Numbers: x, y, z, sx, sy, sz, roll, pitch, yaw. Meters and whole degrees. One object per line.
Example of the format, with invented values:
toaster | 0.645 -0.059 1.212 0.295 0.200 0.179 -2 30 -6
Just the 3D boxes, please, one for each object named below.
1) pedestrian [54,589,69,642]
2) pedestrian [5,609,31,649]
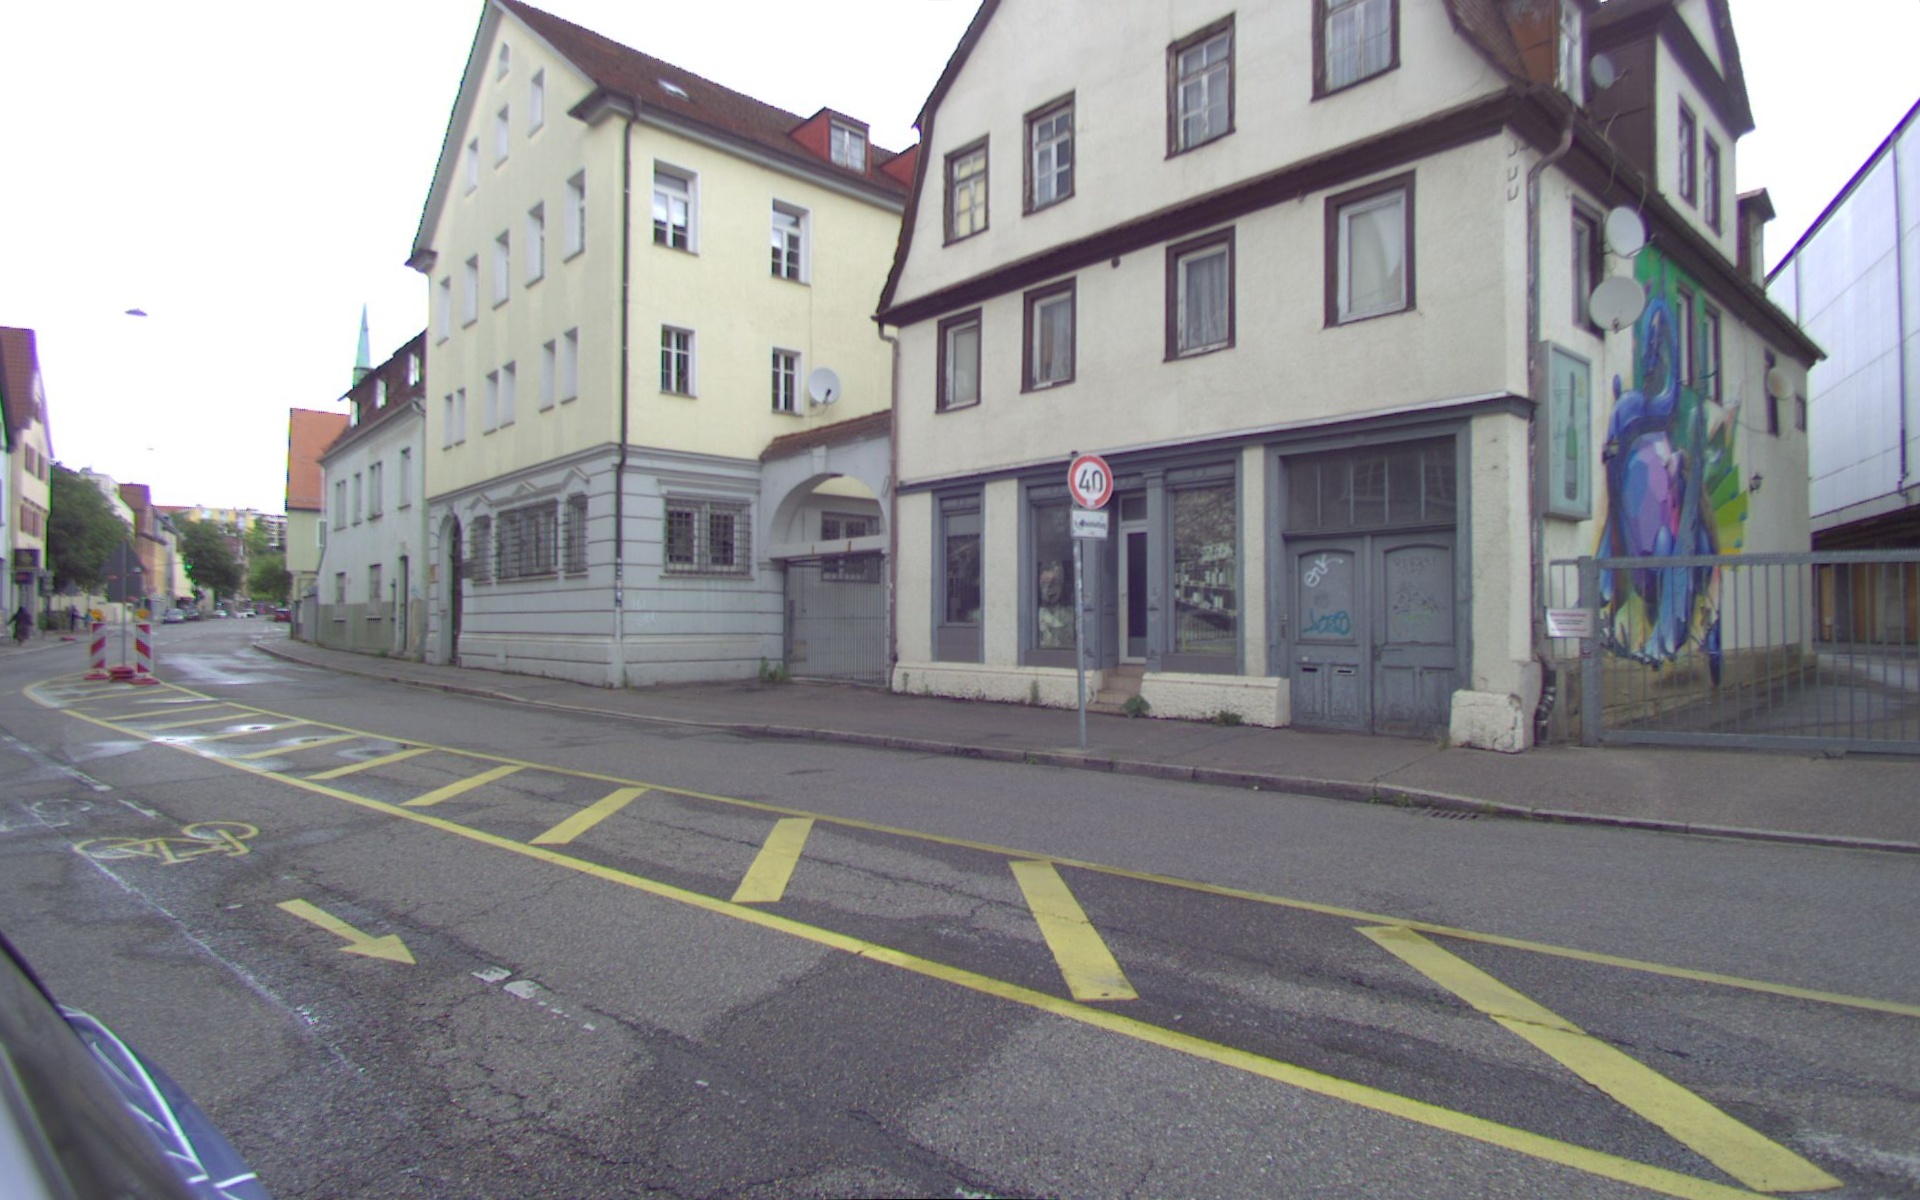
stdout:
pedestrian | -43.765 0.759 49.287 0.487 2.547 0.747 1 -2 -38
pedestrian | -39.387 1.210 42.327 0.714 1.626 0.650 0 -2 -38
